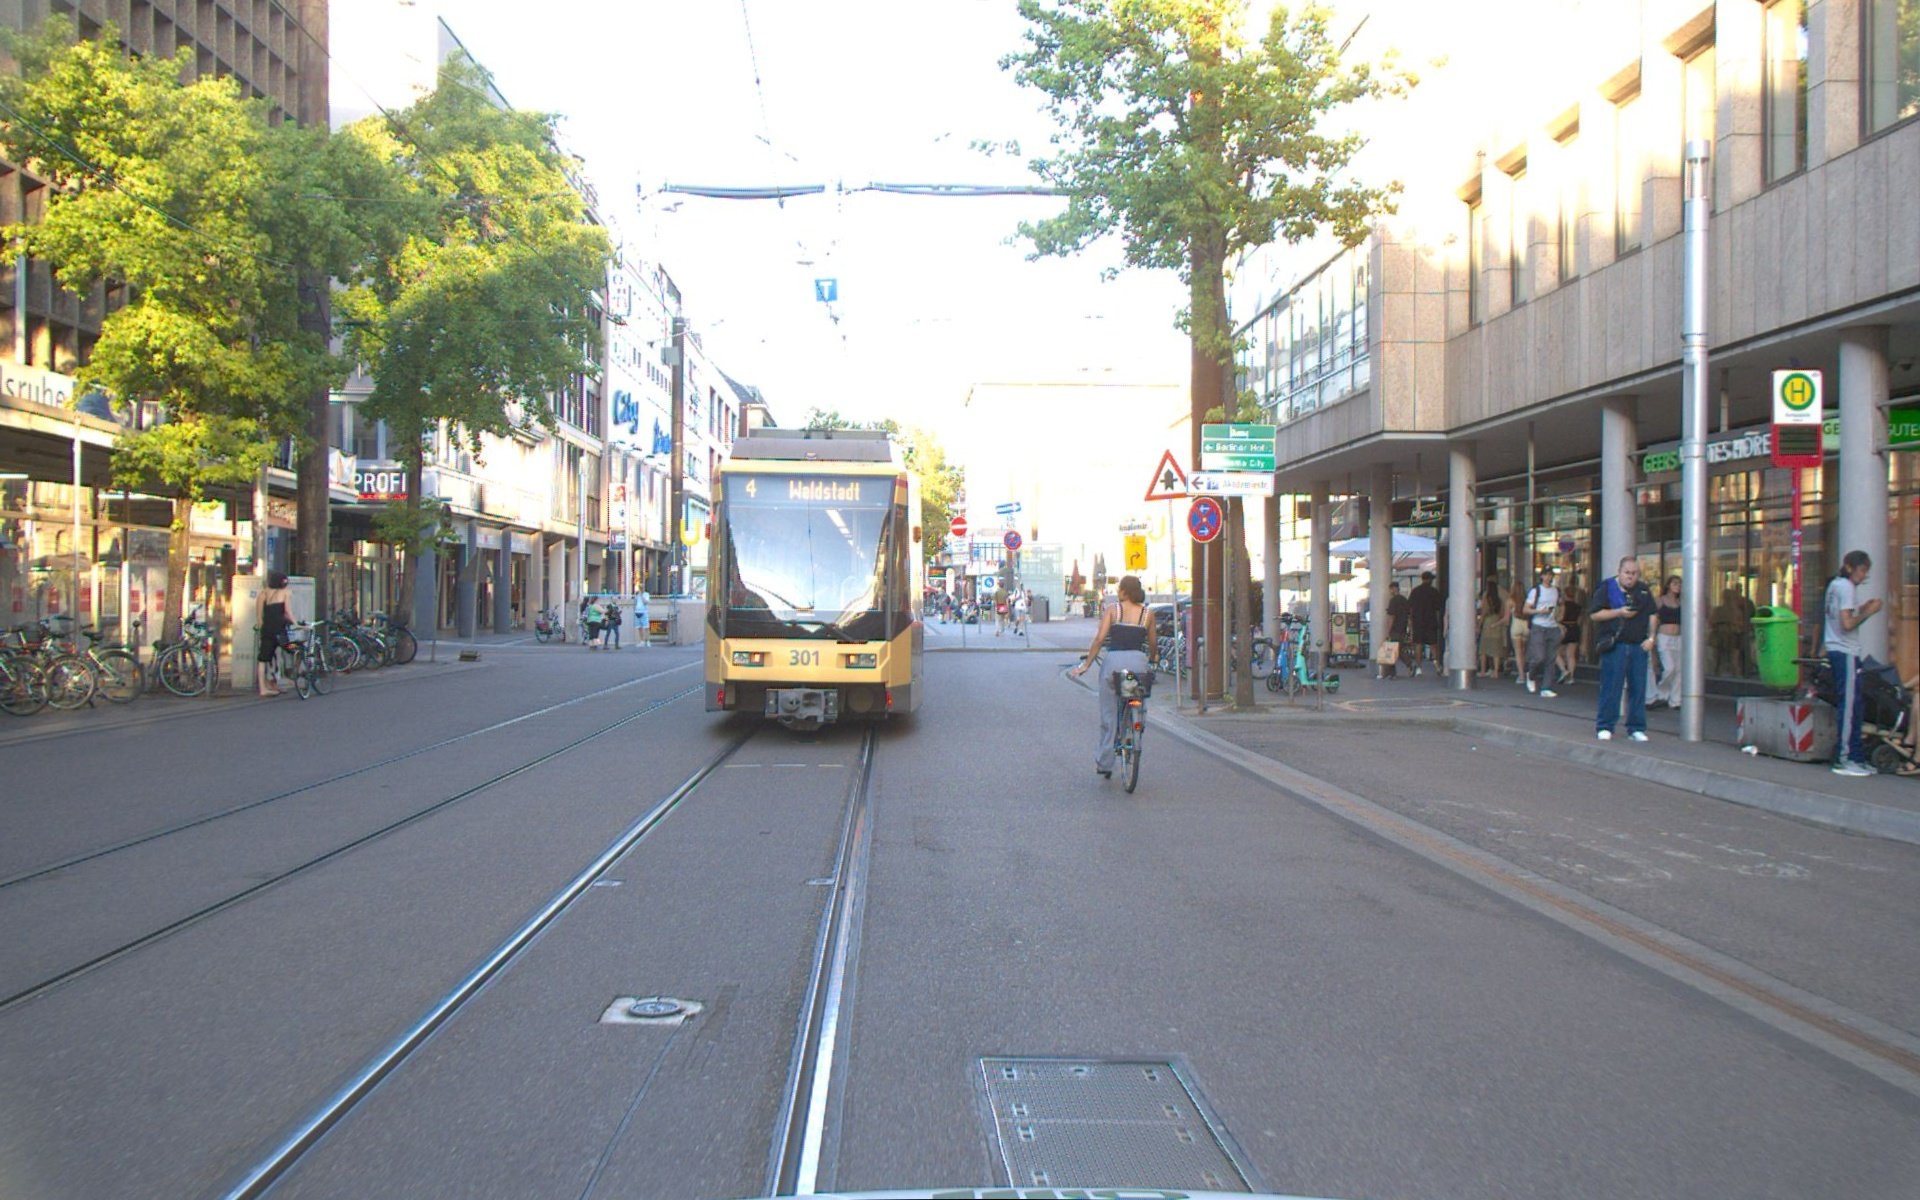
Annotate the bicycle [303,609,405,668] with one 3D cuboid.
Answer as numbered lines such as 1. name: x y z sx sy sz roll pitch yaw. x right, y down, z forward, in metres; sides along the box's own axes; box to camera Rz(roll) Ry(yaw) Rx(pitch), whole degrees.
1. bicycle: -11.555 0.737 31.563 1.736 1.063 0.489 2 0 -2

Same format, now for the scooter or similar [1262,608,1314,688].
1. scooter or similar: 5.429 0.776 27.342 0.385 1.273 1.187 -1 1 36

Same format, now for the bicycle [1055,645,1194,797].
1. bicycle: 1.341 0.972 13.927 0.799 1.092 2.112 2 0 -4

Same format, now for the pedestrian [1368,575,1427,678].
1. pedestrian: 7.636 0.461 28.902 0.748 1.749 0.923 -1 -1 -1

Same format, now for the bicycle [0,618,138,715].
1. bicycle: -10.950 0.795 19.965 1.738 1.090 0.488 2 0 -8

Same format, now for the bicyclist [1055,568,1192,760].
1. bicyclist: 1.353 0.516 13.821 0.977 1.528 0.856 2 0 -4

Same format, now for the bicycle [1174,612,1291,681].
1. bicycle: 4.989 0.840 30.294 1.958 1.175 0.724 -2 0 -7

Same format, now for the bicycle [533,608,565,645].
1. bicycle: -13.240 0.834 53.315 0.488 1.127 1.801 0 1 3

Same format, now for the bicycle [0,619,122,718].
1. bicycle: -10.877 0.793 19.422 1.738 1.090 0.488 2 0 -8

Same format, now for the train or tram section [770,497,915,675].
1. train or tram section: -2.539 -0.295 38.647 2.744 3.377 14.501 0 0 -2

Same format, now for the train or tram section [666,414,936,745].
1. train or tram section: -1.929 -0.233 24.183 2.744 3.377 14.501 0 0 -2

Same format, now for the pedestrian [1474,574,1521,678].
1. pedestrian: 9.949 0.477 30.618 0.649 1.881 0.719 -1 -1 3

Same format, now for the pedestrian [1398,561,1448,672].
1. pedestrian: 8.658 0.308 30.966 0.672 2.049 0.782 -1 0 -2

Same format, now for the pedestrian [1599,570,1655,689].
1. pedestrian: 10.115 0.442 25.108 0.559 1.762 0.617 -1 0 -3

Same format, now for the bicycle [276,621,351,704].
1. bicycle: -9.039 0.857 23.190 0.478 1.063 1.776 1 0 -5

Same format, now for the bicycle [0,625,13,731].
1. bicycle: -10.770 0.781 16.965 1.738 1.090 0.488 2 0 -8

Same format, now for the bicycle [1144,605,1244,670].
1. bicycle: 4.812 0.771 34.032 1.878 1.244 0.762 -2 0 -7

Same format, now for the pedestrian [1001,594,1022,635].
1. pedestrian: 2.301 0.638 74.423 0.722 1.855 0.816 0 0 -17

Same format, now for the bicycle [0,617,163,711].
1. bicycle: -10.964 0.791 20.617 1.738 1.090 0.488 2 0 -8

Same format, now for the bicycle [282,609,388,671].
1. bicycle: -11.517 0.731 30.503 1.736 1.063 0.489 2 0 -2

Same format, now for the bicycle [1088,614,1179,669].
1. bicycle: 3.698 0.881 35.344 1.816 1.128 0.666 -1 0 -5

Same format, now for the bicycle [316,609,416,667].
1. bicycle: -11.540 0.740 32.144 1.736 1.063 0.489 2 0 -2

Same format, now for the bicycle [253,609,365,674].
1. bicycle: -11.449 0.725 29.113 1.736 1.063 0.489 2 0 -2

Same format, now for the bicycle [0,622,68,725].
1. bicycle: -10.865 0.787 18.202 1.738 1.090 0.488 2 0 -8

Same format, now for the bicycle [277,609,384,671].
1. bicycle: -11.511 0.730 30.260 1.736 1.063 0.489 2 0 -2

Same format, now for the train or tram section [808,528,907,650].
1. train or tram section: -3.159 -0.342 53.155 2.744 3.377 14.501 0 0 -2

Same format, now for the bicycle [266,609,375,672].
1. bicycle: -11.467 0.727 29.684 1.736 1.063 0.489 2 0 -2

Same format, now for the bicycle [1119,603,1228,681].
1. bicycle: 3.999 0.776 31.067 1.878 1.356 0.724 -2 0 -7

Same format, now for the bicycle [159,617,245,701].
1. bicycle: -10.346 0.786 22.629 0.478 1.063 1.776 1 0 -5

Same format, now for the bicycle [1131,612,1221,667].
1. bicycle: 4.651 0.853 35.685 1.816 1.128 0.666 -1 0 -5

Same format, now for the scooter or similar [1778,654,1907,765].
1. scooter or similar: 7.669 0.938 14.408 0.815 0.899 0.687 2 -1 12

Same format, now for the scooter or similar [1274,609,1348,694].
1. scooter or similar: 5.509 0.798 25.916 1.102 1.273 0.491 -1 1 -33

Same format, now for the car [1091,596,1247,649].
1. car: 5.845 0.639 46.274 3.975 1.434 1.767 1 -1 -18

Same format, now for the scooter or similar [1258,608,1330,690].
1. scooter or similar: 5.402 0.784 26.725 1.176 1.273 0.389 -1 1 -32

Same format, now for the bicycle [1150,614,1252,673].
1. bicycle: 4.836 0.860 33.285 1.878 1.096 0.762 -2 0 -7
